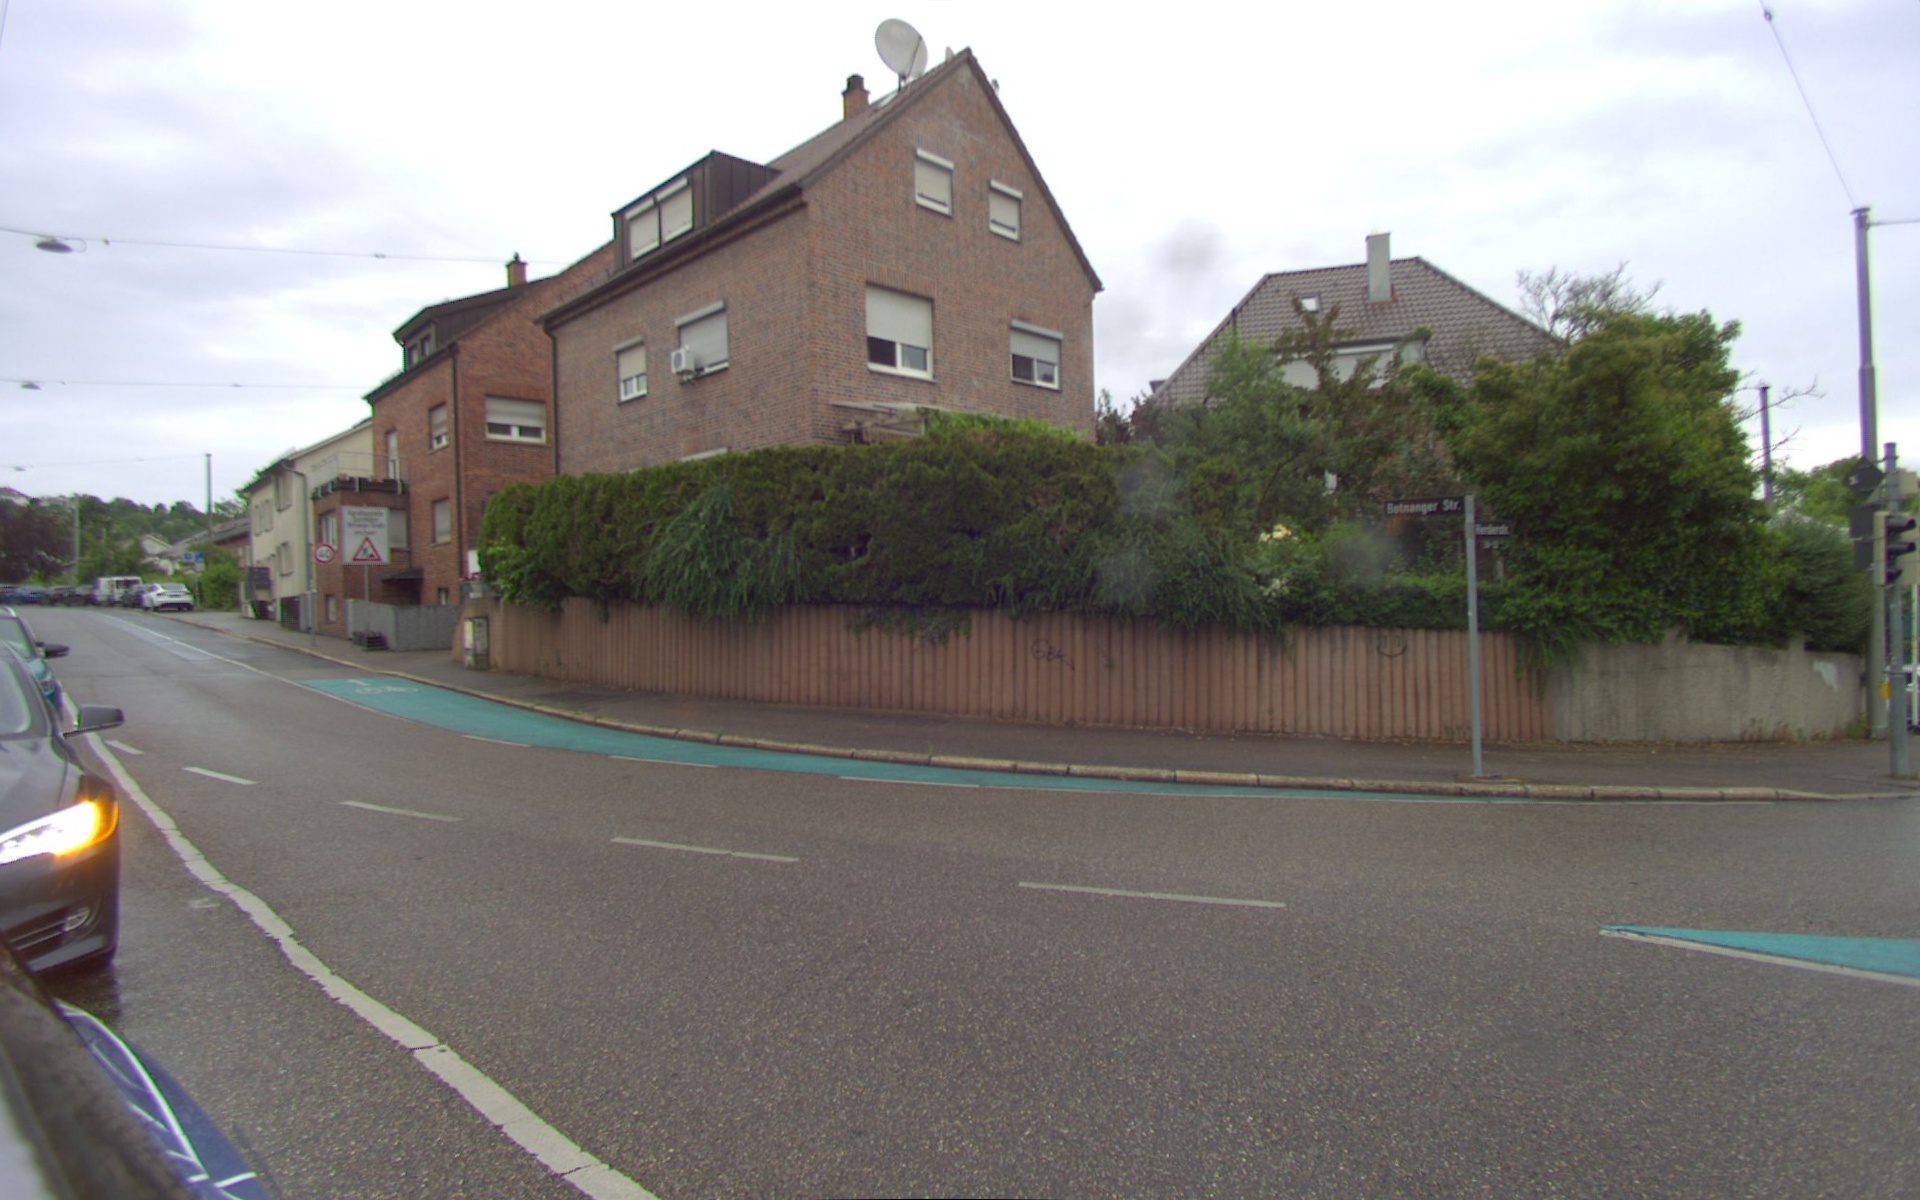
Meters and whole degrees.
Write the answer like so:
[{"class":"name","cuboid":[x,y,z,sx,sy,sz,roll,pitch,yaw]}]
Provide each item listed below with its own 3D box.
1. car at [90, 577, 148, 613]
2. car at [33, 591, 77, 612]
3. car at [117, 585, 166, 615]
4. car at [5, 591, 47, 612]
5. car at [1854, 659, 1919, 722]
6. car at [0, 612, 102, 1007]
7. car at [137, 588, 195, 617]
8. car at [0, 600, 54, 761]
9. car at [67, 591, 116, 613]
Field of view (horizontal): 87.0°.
[{"class":"car","cuboid":[-57.028,-0.334,68.600,4.544,2.303,2.229,0,2,41]},{"class":"car","cuboid":[-66.706,0.117,74.581,3.854,1.407,1.634,-1,2,36]},{"class":"car","cuboid":[-52.382,-0.023,64.742,4.262,1.817,1.791,0,2,42]},{"class":"car","cuboid":[-71.293,0.139,77.227,3.895,1.501,1.605,-1,2,36]},{"class":"car","cuboid":[26.469,2.419,27.053,1.837,1.644,4.297,-1,-3,11]},{"class":"car","cuboid":[-5.418,0.797,4.712,4.002,1.426,1.845,0,0,45]},{"class":"car","cuboid":[-46.434,0.150,59.148,4.262,1.577,1.921,0,2,42]},{"class":"car","cuboid":[-11.225,0.806,11.056,3.785,1.601,1.765,0,0,45]},{"class":"car","cuboid":[-61.481,0.130,71.618,4.002,1.501,1.636,-1,2,34]}]
